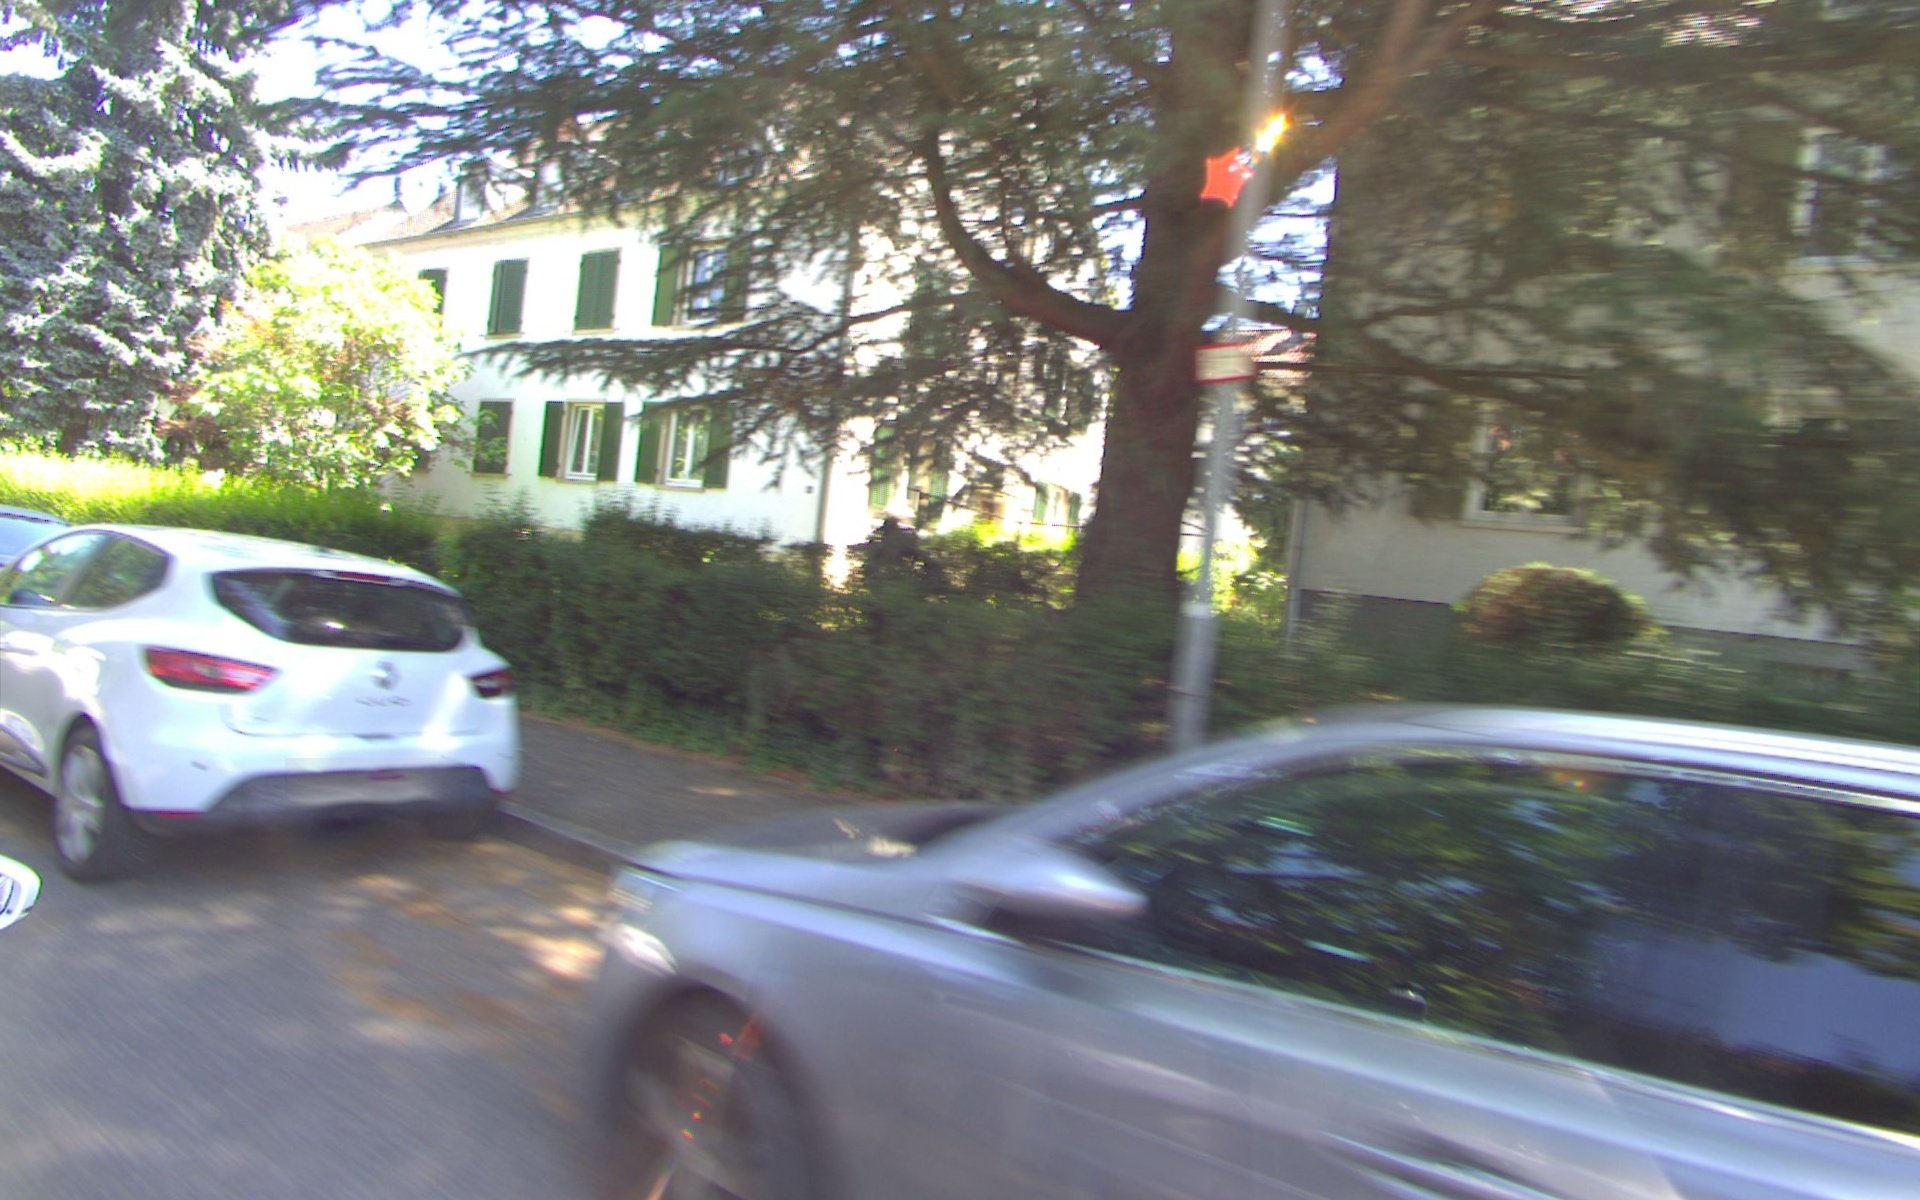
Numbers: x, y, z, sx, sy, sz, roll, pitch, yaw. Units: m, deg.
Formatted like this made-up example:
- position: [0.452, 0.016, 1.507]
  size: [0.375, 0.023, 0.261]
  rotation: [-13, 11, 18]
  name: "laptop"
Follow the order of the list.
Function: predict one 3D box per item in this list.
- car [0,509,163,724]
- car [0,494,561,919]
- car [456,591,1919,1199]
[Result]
- position: [-8.075, -0.072, 7.798]
  size: [4.189, 1.412, 1.617]
  rotation: [6, -1, 33]
  name: "car"
- position: [-4.181, 0.319, 5.447]
  size: [3.998, 1.486, 1.617]
  rotation: [6, -2, 33]
  name: "car"
- position: [1.087, 0.959, 2.002]
  size: [4.303, 1.467, 1.618]
  rotation: [5, -3, 32]
  name: "car"
